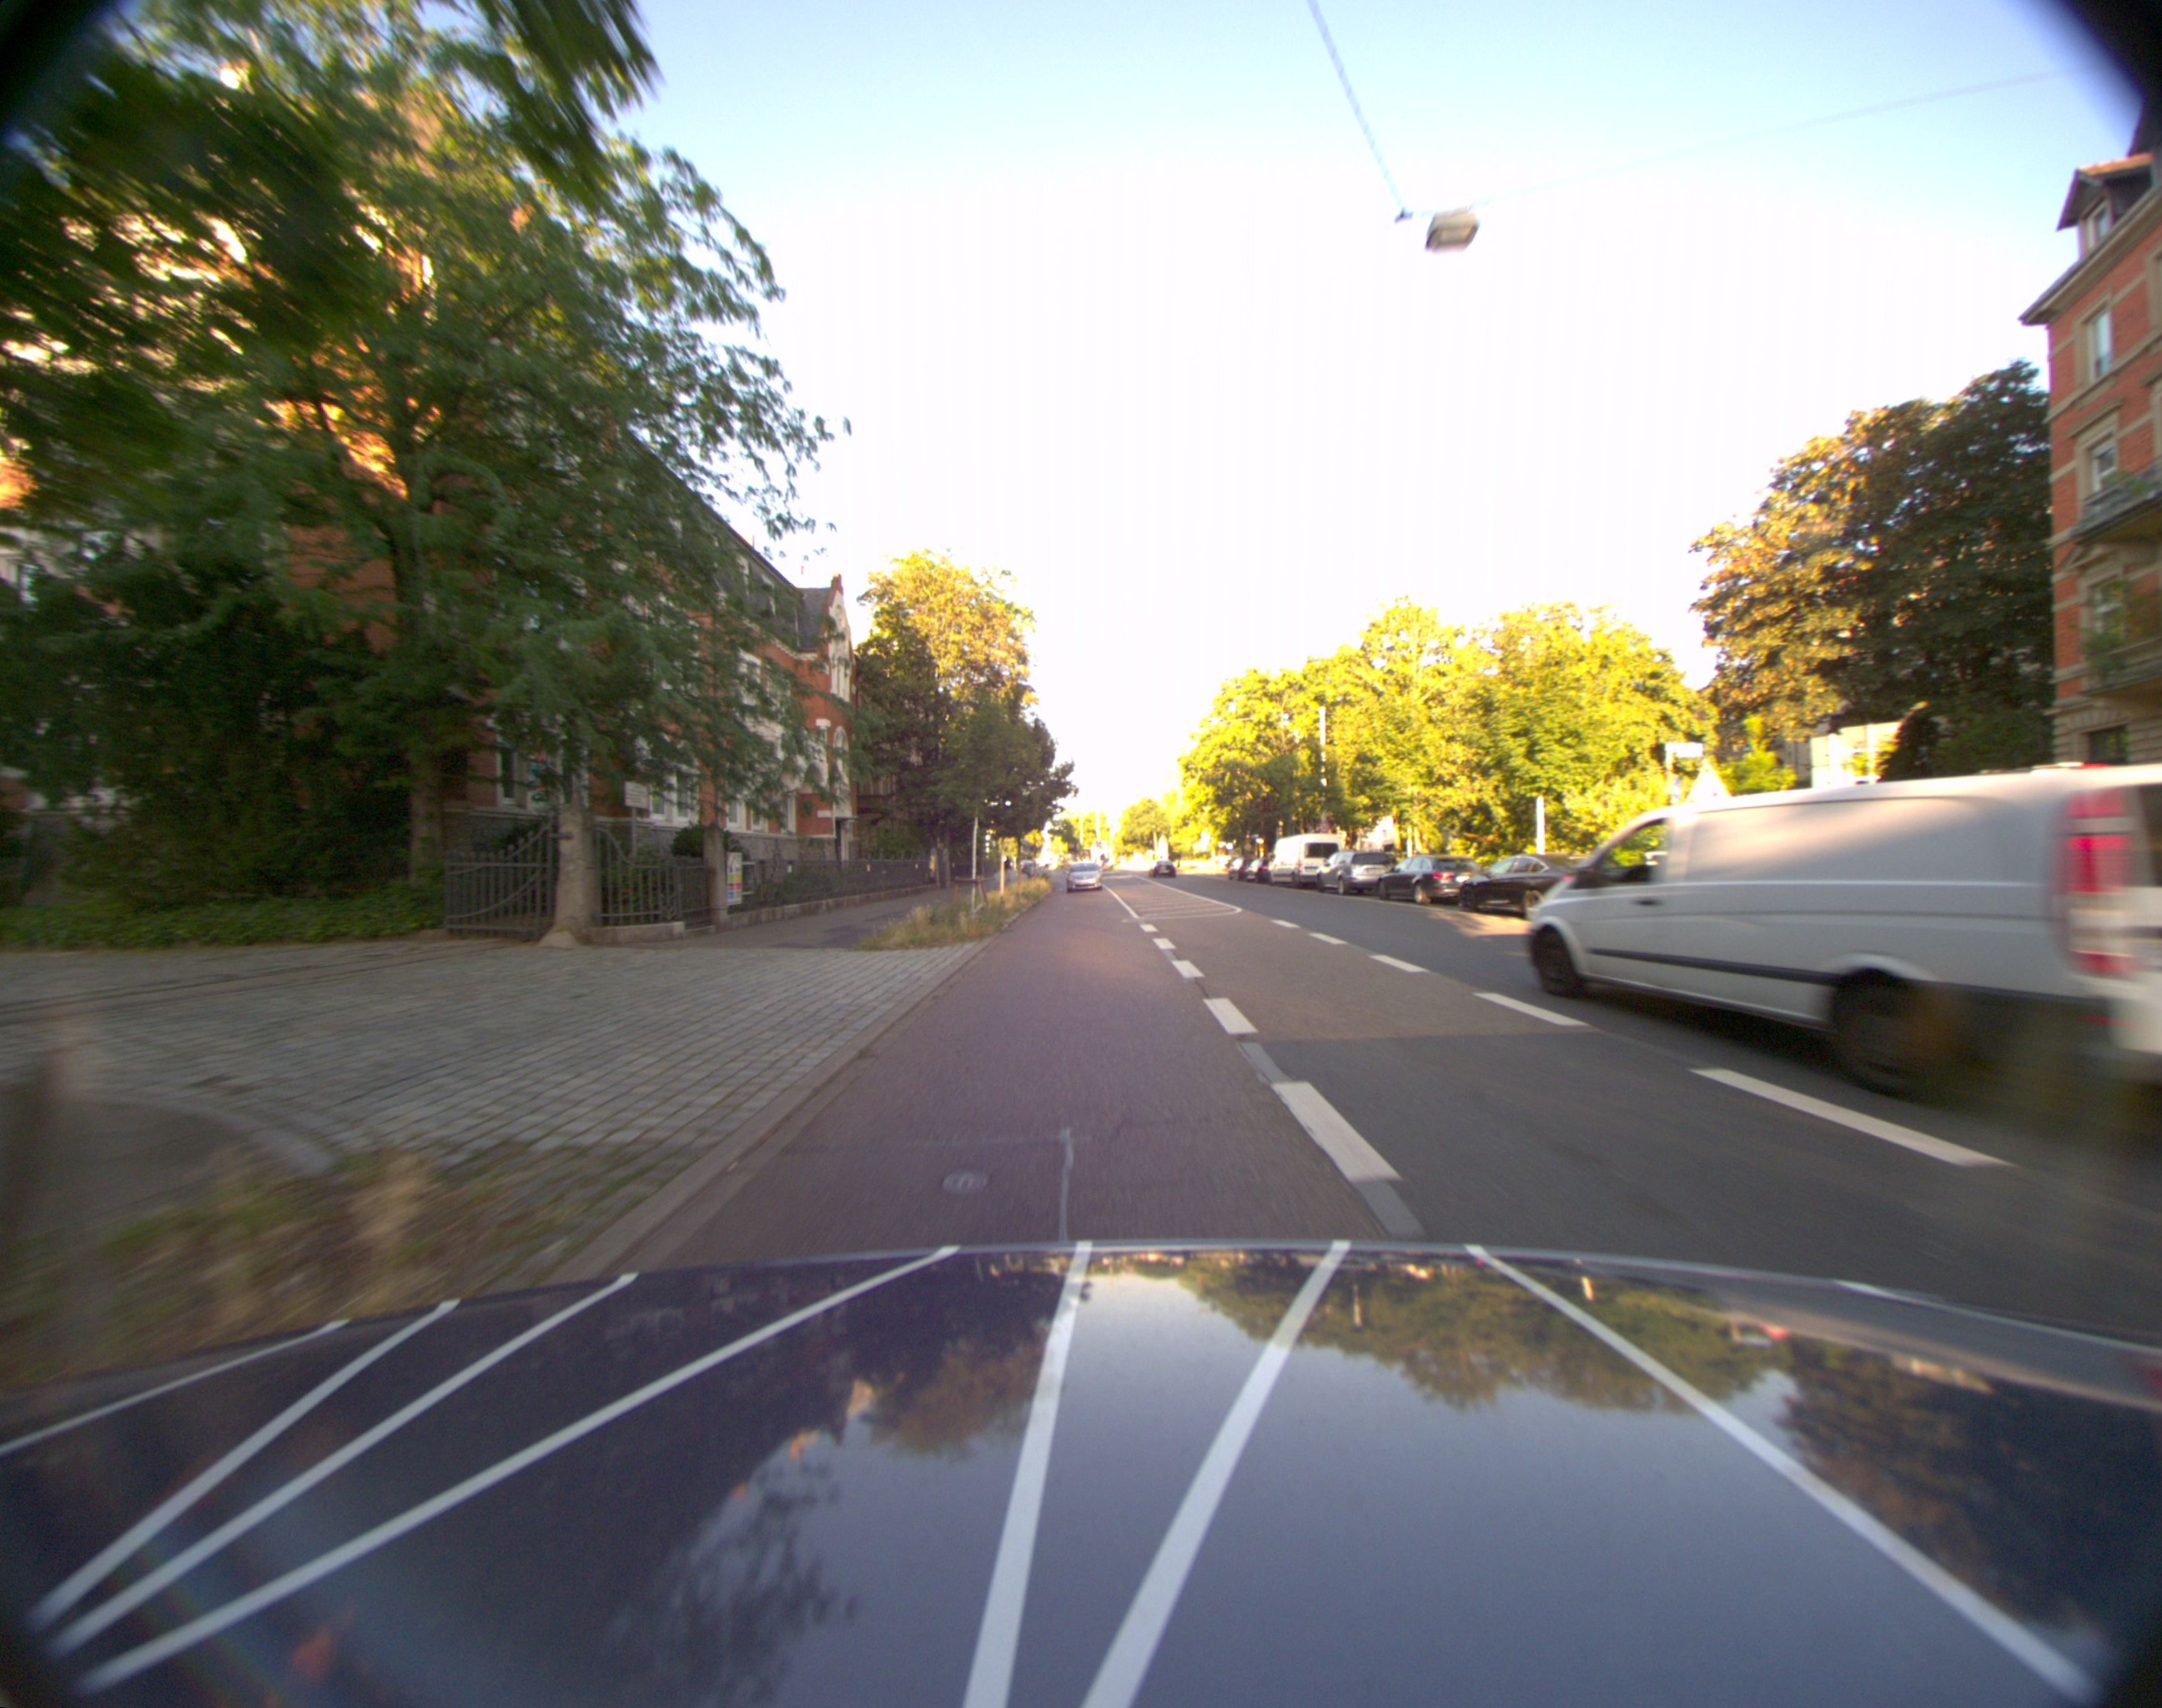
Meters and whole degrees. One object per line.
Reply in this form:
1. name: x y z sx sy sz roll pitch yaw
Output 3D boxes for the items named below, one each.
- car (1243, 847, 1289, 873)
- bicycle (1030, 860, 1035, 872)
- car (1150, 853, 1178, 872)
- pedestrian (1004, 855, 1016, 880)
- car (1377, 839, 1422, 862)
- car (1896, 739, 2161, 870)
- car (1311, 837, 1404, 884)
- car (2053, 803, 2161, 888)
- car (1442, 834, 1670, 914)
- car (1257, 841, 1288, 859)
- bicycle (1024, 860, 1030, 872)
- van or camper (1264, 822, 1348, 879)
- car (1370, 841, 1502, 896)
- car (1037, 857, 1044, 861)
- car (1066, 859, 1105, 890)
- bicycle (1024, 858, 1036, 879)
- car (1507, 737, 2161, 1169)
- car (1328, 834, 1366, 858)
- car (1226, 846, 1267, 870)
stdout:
1. car: 10.720 0.313 44.292 1.632 1.421 4.242 0 0 -1
2. bicycle: -5.551 1.331 87.033 0.567 1.292 2.263 2 1 -4
3. car: 6.458 0.614 59.553 1.770 1.394 4.544 -1 0 1
4. pedestrian: -5.115 0.968 54.407 0.748 1.768 0.830 2 0 -11
5. car: 28.051 -0.289 66.988 1.999 1.871 3.998 -3 0 -4
6. car: 22.735 -1.030 18.515 2.121 2.723 5.319 0 0 26
7. car: 10.398 0.230 28.930 1.870 1.635 4.571 -1 0 0
8. car: 20.586 -0.164 13.608 1.995 1.528 4.570 0 0 24
9. car: 10.150 0.370 16.803 1.998 1.475 4.828 -1 0 0
10. car: 19.796 -0.373 78.689 1.823 1.784 3.998 -2 0 -4
11. bicycle: -6.171 1.337 87.033 0.567 1.268 2.263 2 1 -4
12. van or camper: 10.574 -0.148 36.330 2.096 2.454 6.305 0 0 0
13. car: 10.420 0.374 22.722 1.740 1.437 4.625 -1 0 0
14. car: -13.939 1.837 260.721 1.948 1.258 4.161 -1 0 -6
15. car: 0.194 1.013 39.060 1.895 1.454 3.965 -1 0 -1
16. bicycle: -3.023 0.865 45.261 0.648 1.160 1.930 -3 0 -4
17. car: 5.608 0.403 5.722 1.998 1.821 5.169 0 0 1
18. car: 27.290 -0.825 78.061 2.220 2.275 5.099 -2 0 3
19. car: 10.676 0.239 49.291 1.627 1.498 4.544 -1 0 0
